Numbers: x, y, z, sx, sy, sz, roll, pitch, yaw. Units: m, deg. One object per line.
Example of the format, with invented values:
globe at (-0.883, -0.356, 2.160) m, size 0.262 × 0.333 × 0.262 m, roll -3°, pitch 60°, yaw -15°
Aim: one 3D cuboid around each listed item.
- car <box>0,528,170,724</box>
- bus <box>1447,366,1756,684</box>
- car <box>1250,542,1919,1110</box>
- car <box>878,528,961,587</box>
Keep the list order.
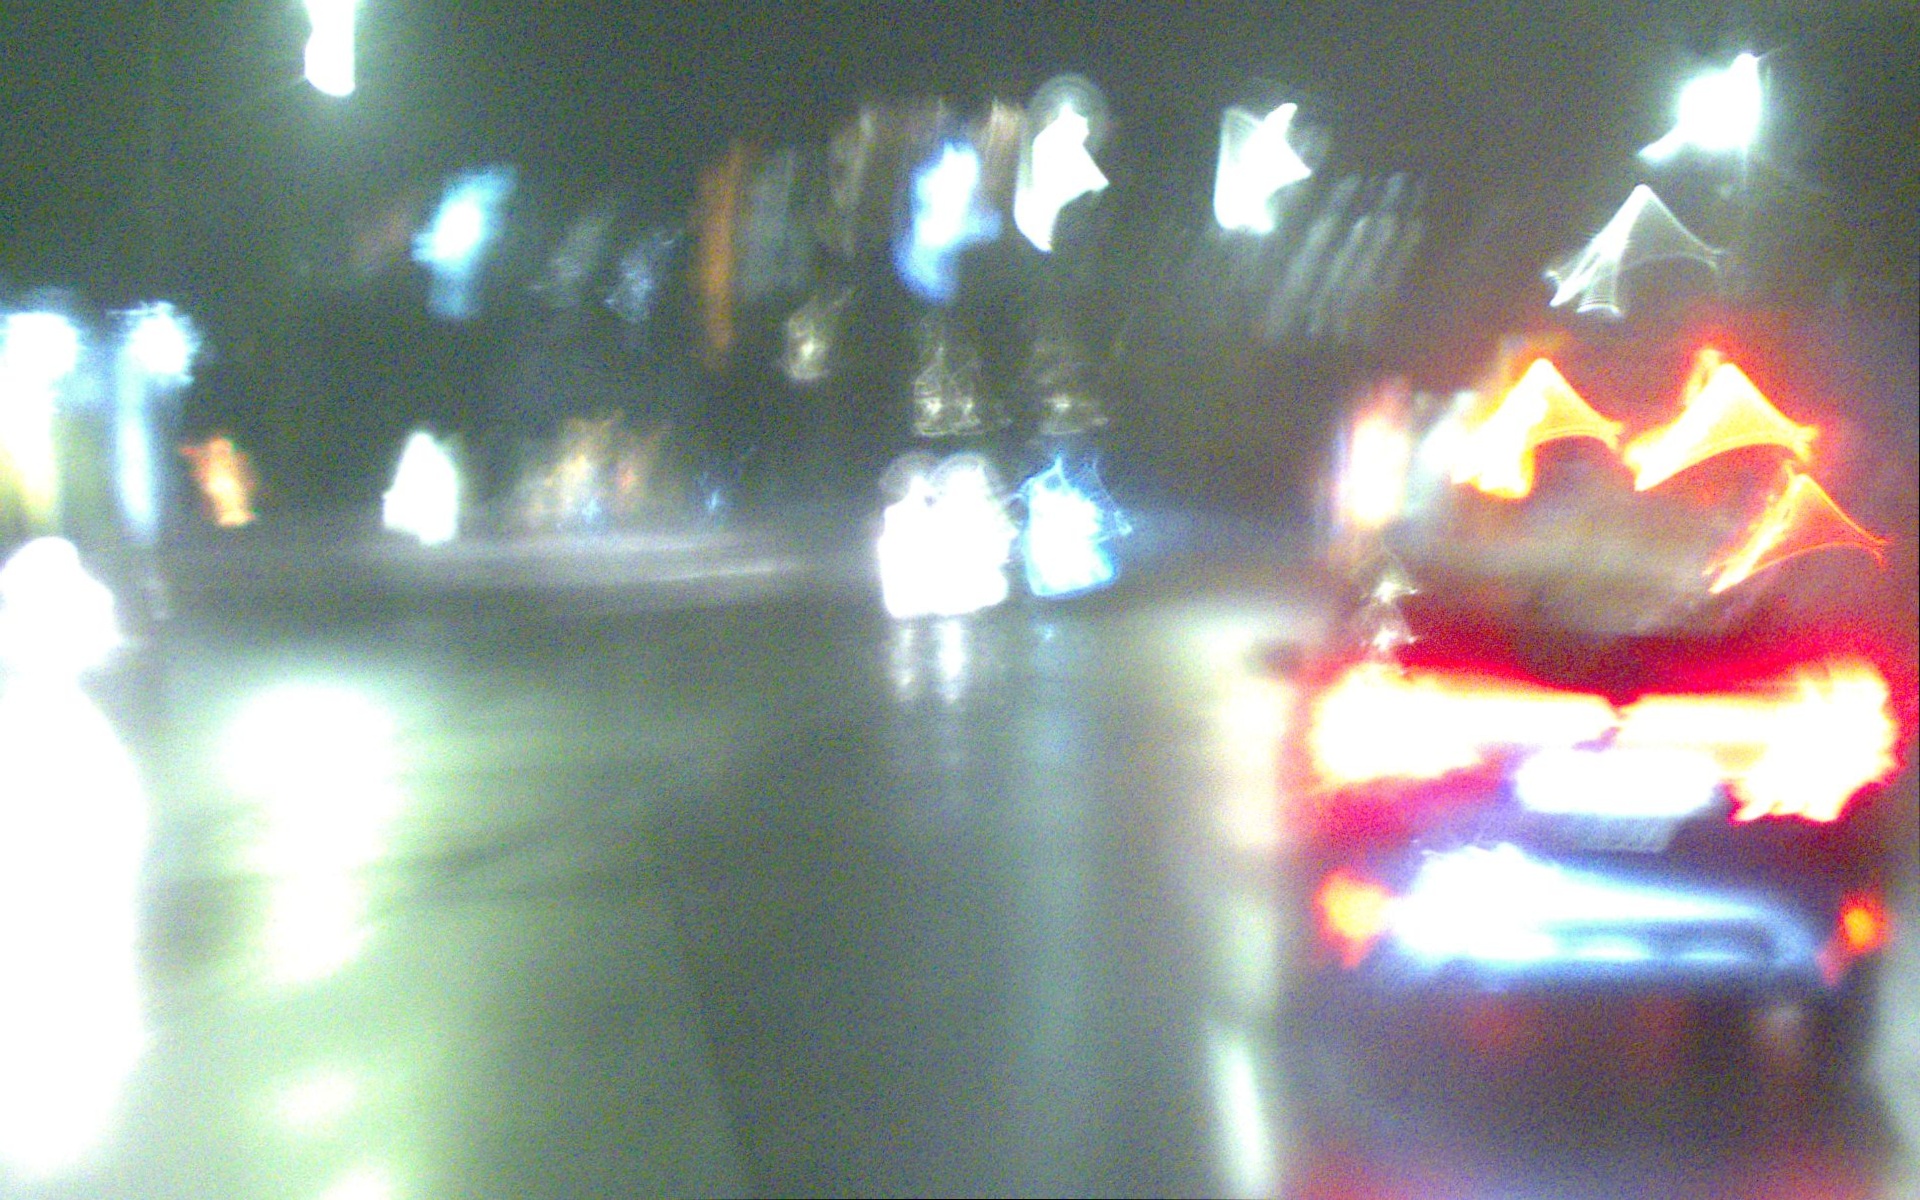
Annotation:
car at (-7.794, 0.167, 28.347) m, size 1.825 × 1.498 × 4.189 m, roll 0°, pitch 1°, yaw -3°
bus at (7.338, -0.851, 39.884) m, size 3.045 × 3.201 × 9.047 m, roll 2°, pitch 1°, yaw 9°
car at (1.965, 0.574, 11.282) m, size 1.994 × 1.519 × 3.999 m, roll 0°, pitch 1°, yaw 5°
car at (-1.050, -1.117, 90.128) m, size 1.765 × 1.452 × 3.952 m, roll 2°, pitch 1°, yaw 5°
